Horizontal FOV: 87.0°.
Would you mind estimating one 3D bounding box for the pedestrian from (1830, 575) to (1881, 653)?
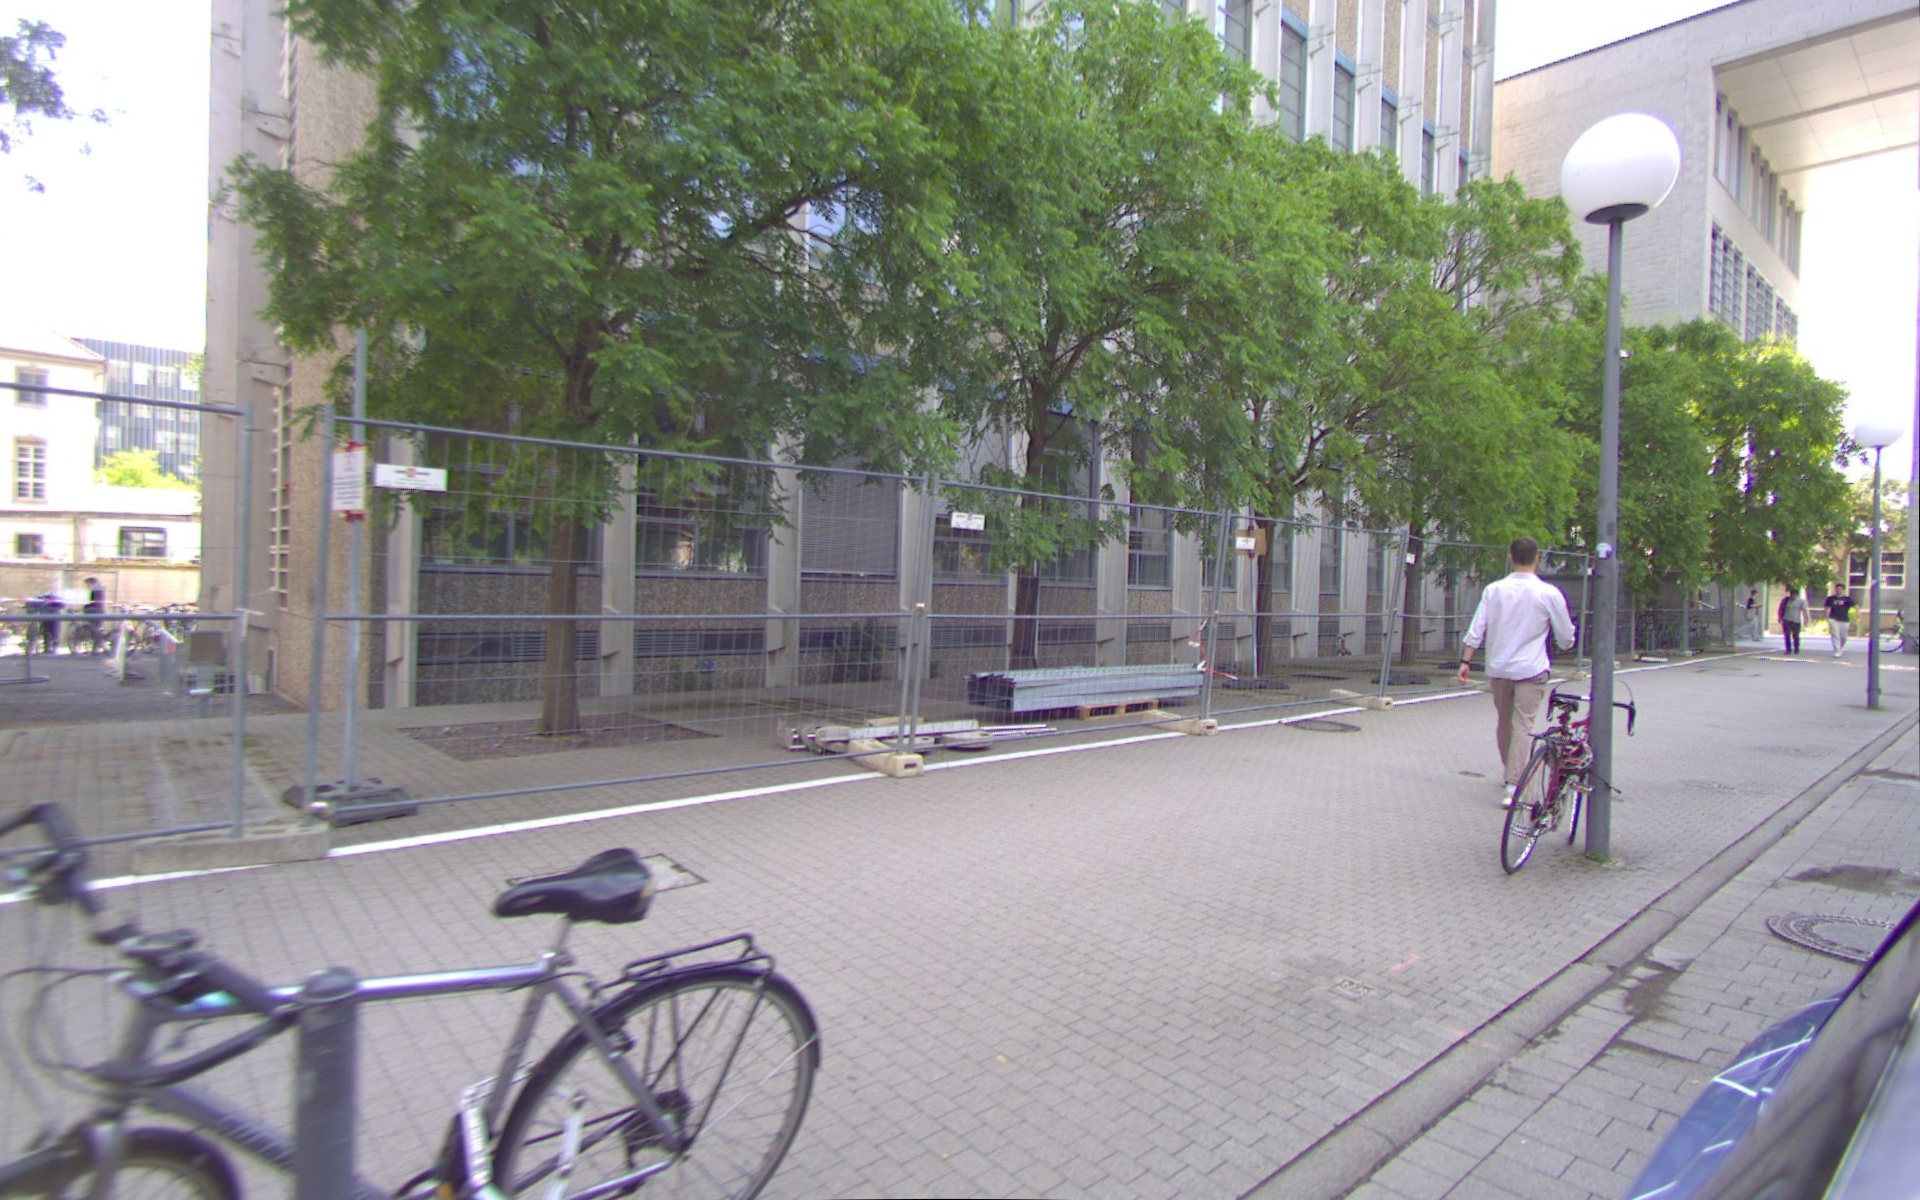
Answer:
[{"bbox_3d":[21.664,0.322,24.496,0.697,1.826,0.873,2,0,30],"label":"pedestrian"}]

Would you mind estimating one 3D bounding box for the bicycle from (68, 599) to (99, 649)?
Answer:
[{"bbox_3d":[-21.736,0.570,25.079,0.536,1.184,1.999,1,-1,-42],"label":"bicycle"}]

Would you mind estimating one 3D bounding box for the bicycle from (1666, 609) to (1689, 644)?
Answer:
[{"bbox_3d":[19.527,0.701,27.537,0.290,0.917,1.425,2,1,44],"label":"bicycle"}]

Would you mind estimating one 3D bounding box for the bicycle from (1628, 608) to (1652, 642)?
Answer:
[{"bbox_3d":[18.960,0.682,28.198,0.290,0.917,1.425,2,1,44],"label":"bicycle"}]

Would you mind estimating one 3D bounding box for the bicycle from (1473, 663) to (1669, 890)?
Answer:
[{"bbox_3d":[3.311,0.865,5.418,1.702,0.947,0.396,0,3,-43],"label":"bicycle"}]

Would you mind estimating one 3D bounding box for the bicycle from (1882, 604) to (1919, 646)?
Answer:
[{"bbox_3d":[25.576,0.685,26.748,1.739,1.052,0.442,3,0,44],"label":"bicycle"}]

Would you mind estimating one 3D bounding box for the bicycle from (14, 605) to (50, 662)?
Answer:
[{"bbox_3d":[-19.947,0.692,21.777,0.536,1.184,1.999,1,-1,-42],"label":"bicycle"}]

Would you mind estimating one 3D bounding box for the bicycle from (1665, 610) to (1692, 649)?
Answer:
[{"bbox_3d":[17.453,0.697,24.571,0.290,0.917,1.425,2,1,44],"label":"bicycle"}]

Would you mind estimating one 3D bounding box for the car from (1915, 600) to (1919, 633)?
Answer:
[{"bbox_3d":[46.164,0.833,46.059,1.625,1.494,3.774,-2,3,-41],"label":"car"}]

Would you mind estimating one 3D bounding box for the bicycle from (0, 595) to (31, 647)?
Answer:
[{"bbox_3d":[-22.692,0.490,24.301,0.536,1.184,1.999,1,-1,-42],"label":"bicycle"}]

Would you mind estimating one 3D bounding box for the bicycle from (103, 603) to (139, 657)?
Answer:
[{"bbox_3d":[-18.983,0.651,22.878,0.536,1.184,1.999,1,-1,-42],"label":"bicycle"}]

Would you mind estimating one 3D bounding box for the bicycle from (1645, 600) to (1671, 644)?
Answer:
[{"bbox_3d":[18.370,0.571,26.630,0.290,1.142,1.425,2,1,44],"label":"bicycle"}]

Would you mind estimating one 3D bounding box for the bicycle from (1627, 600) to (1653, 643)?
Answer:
[{"bbox_3d":[18.075,0.570,26.891,0.290,1.108,1.425,2,1,44],"label":"bicycle"}]

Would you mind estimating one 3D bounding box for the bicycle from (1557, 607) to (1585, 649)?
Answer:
[{"bbox_3d":[14.252,0.631,23.586,0.290,0.917,1.779,2,1,39],"label":"bicycle"}]

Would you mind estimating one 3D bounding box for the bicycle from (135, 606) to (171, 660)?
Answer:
[{"bbox_3d":[-18.546,0.743,23.240,0.536,1.184,1.999,1,-1,-42],"label":"bicycle"}]

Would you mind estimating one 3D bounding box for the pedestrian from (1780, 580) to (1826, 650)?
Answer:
[{"bbox_3d":[20.986,0.361,25.203,0.697,1.676,0.873,2,0,30],"label":"pedestrian"}]

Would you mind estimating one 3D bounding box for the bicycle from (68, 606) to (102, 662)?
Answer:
[{"bbox_3d":[-19.439,0.736,22.465,0.536,1.184,1.999,1,-1,-42],"label":"bicycle"}]

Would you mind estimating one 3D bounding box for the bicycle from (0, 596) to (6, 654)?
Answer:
[{"bbox_3d":[-20.590,0.518,21.404,0.536,1.184,1.999,1,-1,-42],"label":"bicycle"}]

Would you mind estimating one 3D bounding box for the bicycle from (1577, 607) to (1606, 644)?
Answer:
[{"bbox_3d":[16.096,0.633,25.786,0.290,0.917,1.425,2,1,44],"label":"bicycle"}]

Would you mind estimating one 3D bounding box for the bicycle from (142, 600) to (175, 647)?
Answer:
[{"bbox_3d":[-20.621,0.585,26.023,0.536,1.184,2.063,1,-1,-42],"label":"bicycle"}]

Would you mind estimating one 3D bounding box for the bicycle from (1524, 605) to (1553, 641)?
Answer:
[{"bbox_3d":[15.287,0.591,26.738,0.290,0.917,1.425,2,1,44],"label":"bicycle"}]

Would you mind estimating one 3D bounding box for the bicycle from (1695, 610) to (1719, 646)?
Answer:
[{"bbox_3d":[19.874,0.729,26.922,0.290,0.917,1.425,2,1,44],"label":"bicycle"}]

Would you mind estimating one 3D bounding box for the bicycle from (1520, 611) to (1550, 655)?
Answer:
[{"bbox_3d":[12.645,0.708,22.233,0.290,0.917,1.596,2,1,39],"label":"bicycle"}]

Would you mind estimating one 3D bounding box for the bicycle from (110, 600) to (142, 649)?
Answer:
[{"bbox_3d":[-21.129,0.605,25.623,0.536,1.184,2.063,1,-1,-42],"label":"bicycle"}]

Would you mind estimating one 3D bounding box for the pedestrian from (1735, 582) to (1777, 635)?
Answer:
[{"bbox_3d":[27.745,0.287,35.290,0.949,1.837,0.764,0,0,23],"label":"pedestrian"}]

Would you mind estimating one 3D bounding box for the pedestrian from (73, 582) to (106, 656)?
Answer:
[{"bbox_3d":[-19.482,0.407,22.656,0.553,1.633,0.532,0,0,-41],"label":"pedestrian"}]

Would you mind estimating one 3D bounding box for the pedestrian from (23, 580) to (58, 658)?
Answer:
[{"bbox_3d":[-19.873,0.394,21.878,0.523,1.651,0.562,0,0,-41],"label":"pedestrian"}]

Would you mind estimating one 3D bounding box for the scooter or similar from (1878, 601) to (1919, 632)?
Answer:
[{"bbox_3d":[36.737,0.631,39.555,0.436,1.165,1.158,2,1,-37],"label":"scooter or similar"}]

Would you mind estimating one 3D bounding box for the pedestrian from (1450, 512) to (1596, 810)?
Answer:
[{"bbox_3d":[3.861,0.380,7.027,0.777,1.868,1.109,0,0,24],"label":"pedestrian"}]

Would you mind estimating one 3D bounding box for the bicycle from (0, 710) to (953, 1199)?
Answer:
[{"bbox_3d":[-0.887,0.813,1.485,1.719,1.106,0.709,0,1,-43],"label":"bicycle"}]
